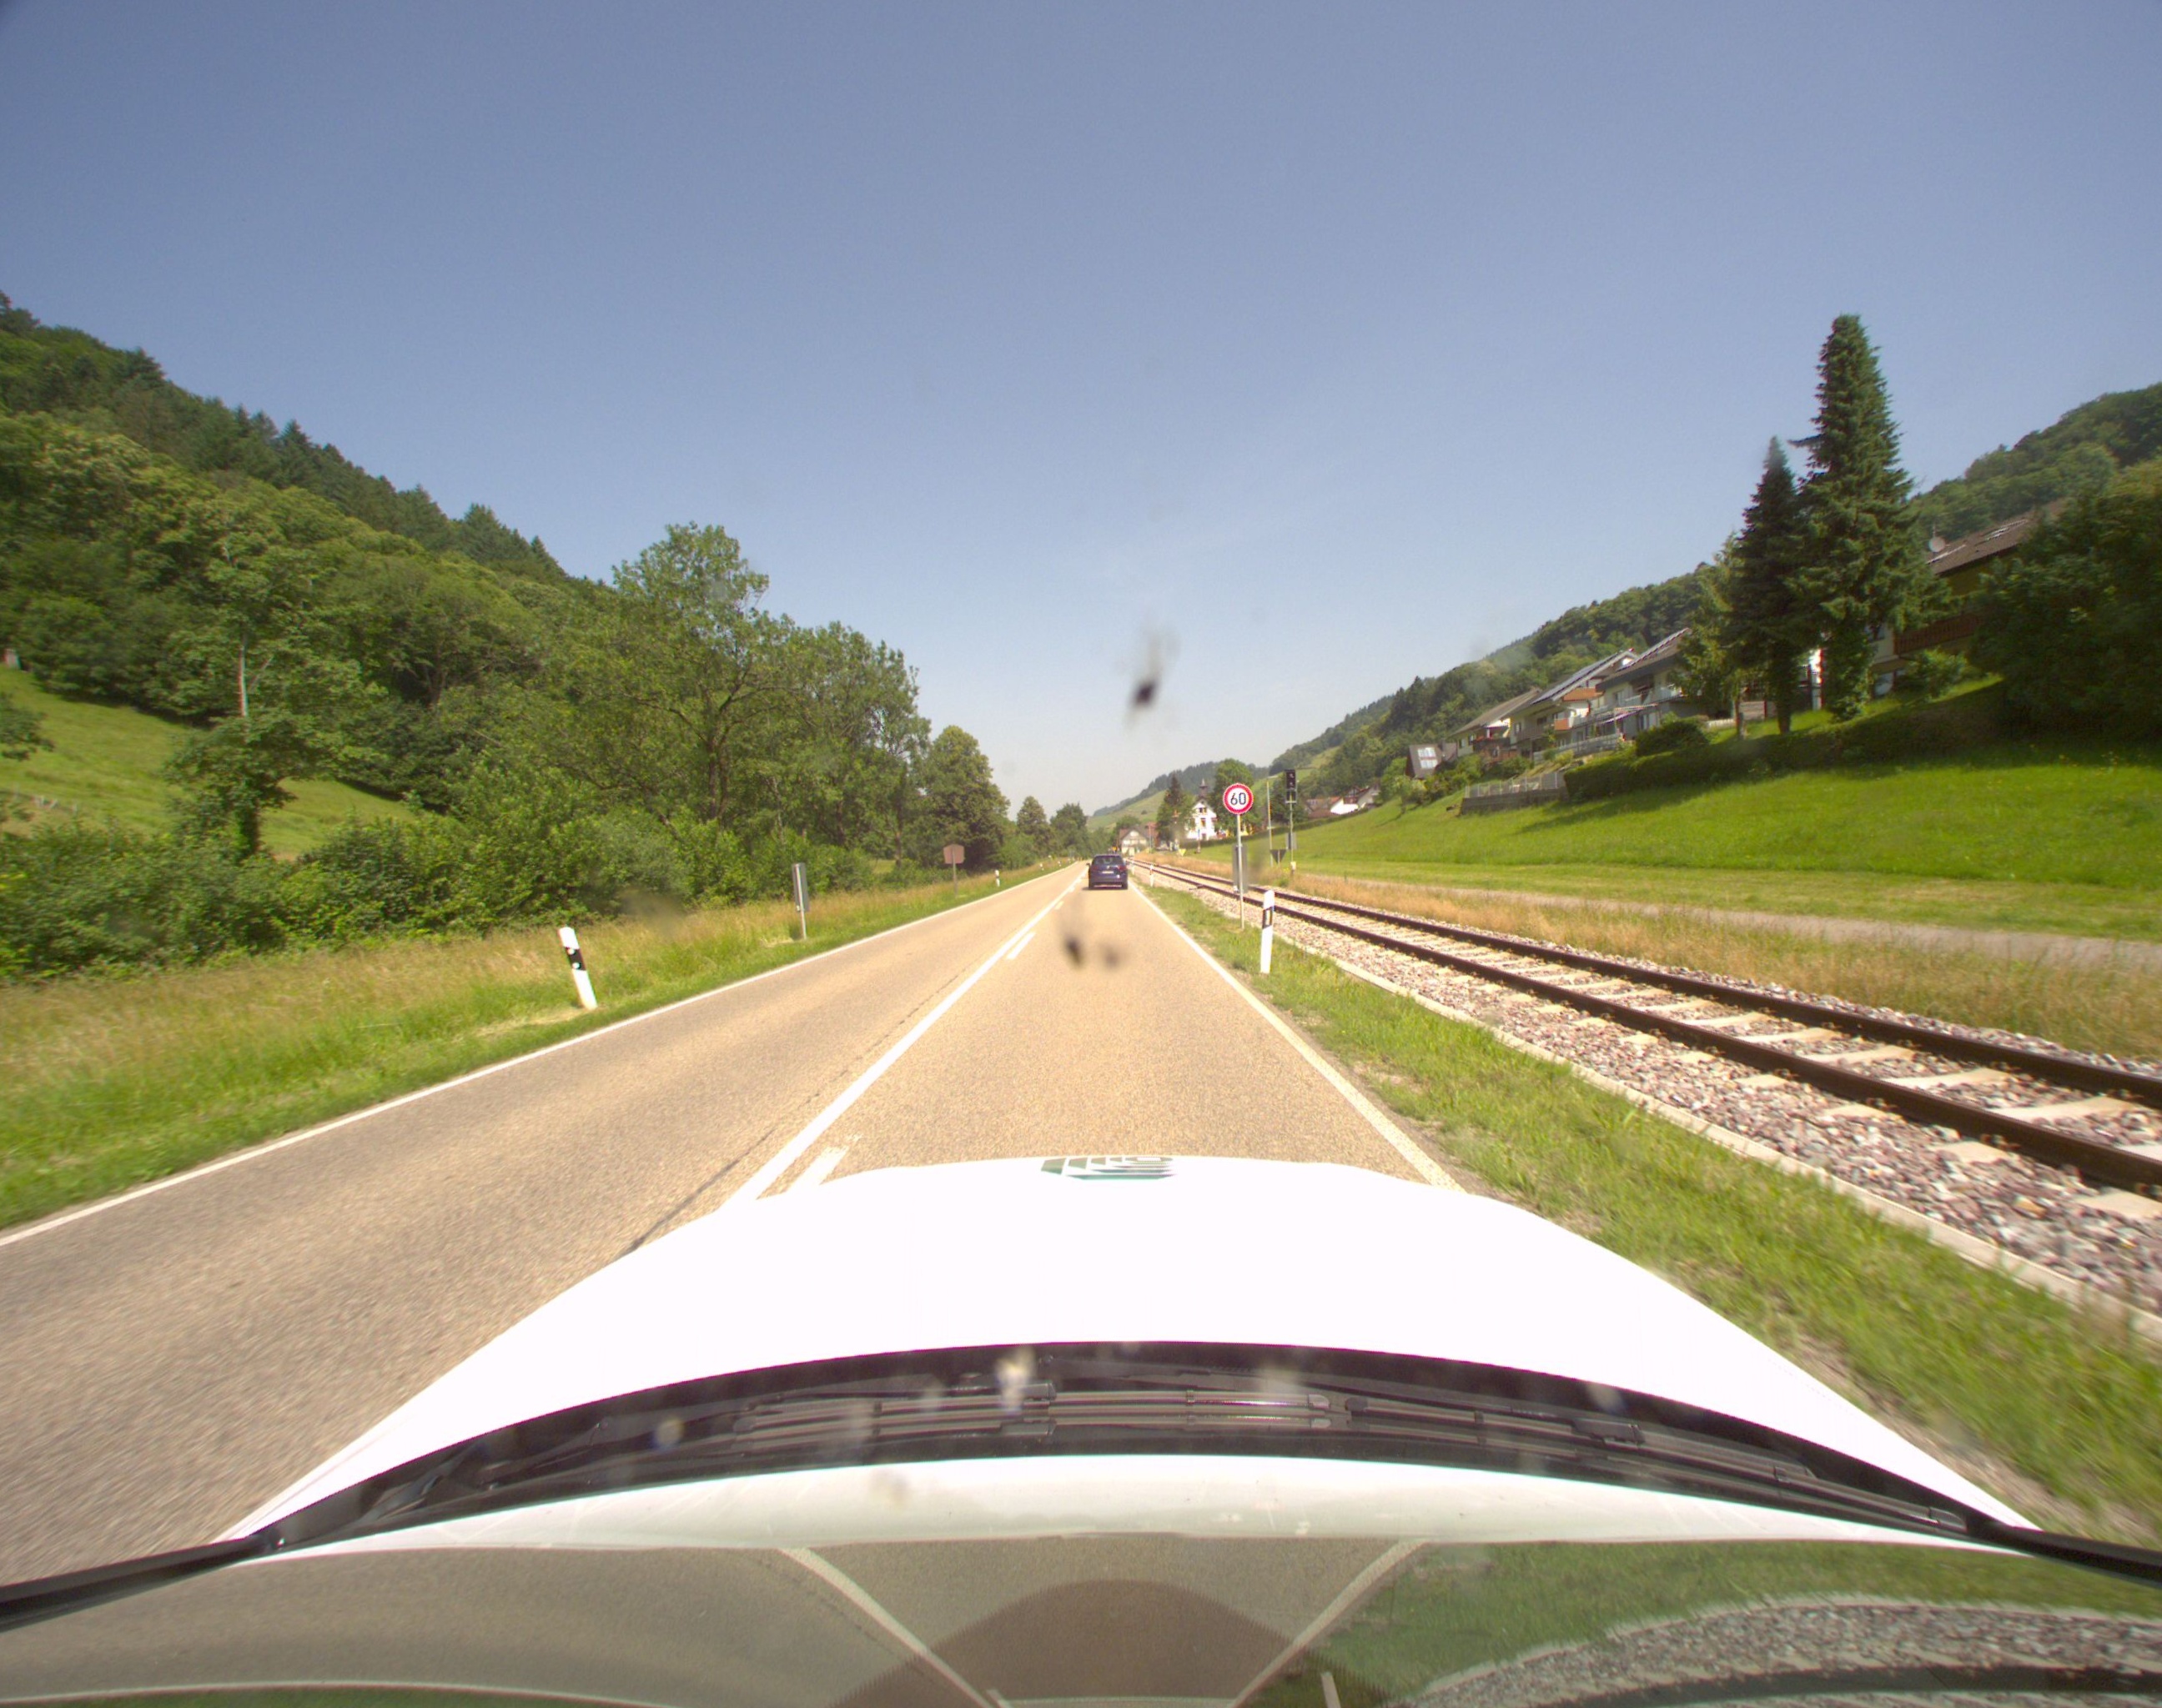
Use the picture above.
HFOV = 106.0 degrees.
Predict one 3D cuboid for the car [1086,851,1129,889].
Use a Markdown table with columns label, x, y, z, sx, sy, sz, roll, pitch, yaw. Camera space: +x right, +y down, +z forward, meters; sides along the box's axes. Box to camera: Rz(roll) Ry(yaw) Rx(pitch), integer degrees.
| label | x | y | z | sx | sy | sz | roll | pitch | yaw |
| --- | --- | --- | --- | --- | --- | --- | --- | --- | --- |
| car | 1.296 | 0.706 | 38.264 | 1.844 | 1.649 | 4.144 | -1 | 0 | 4 |
